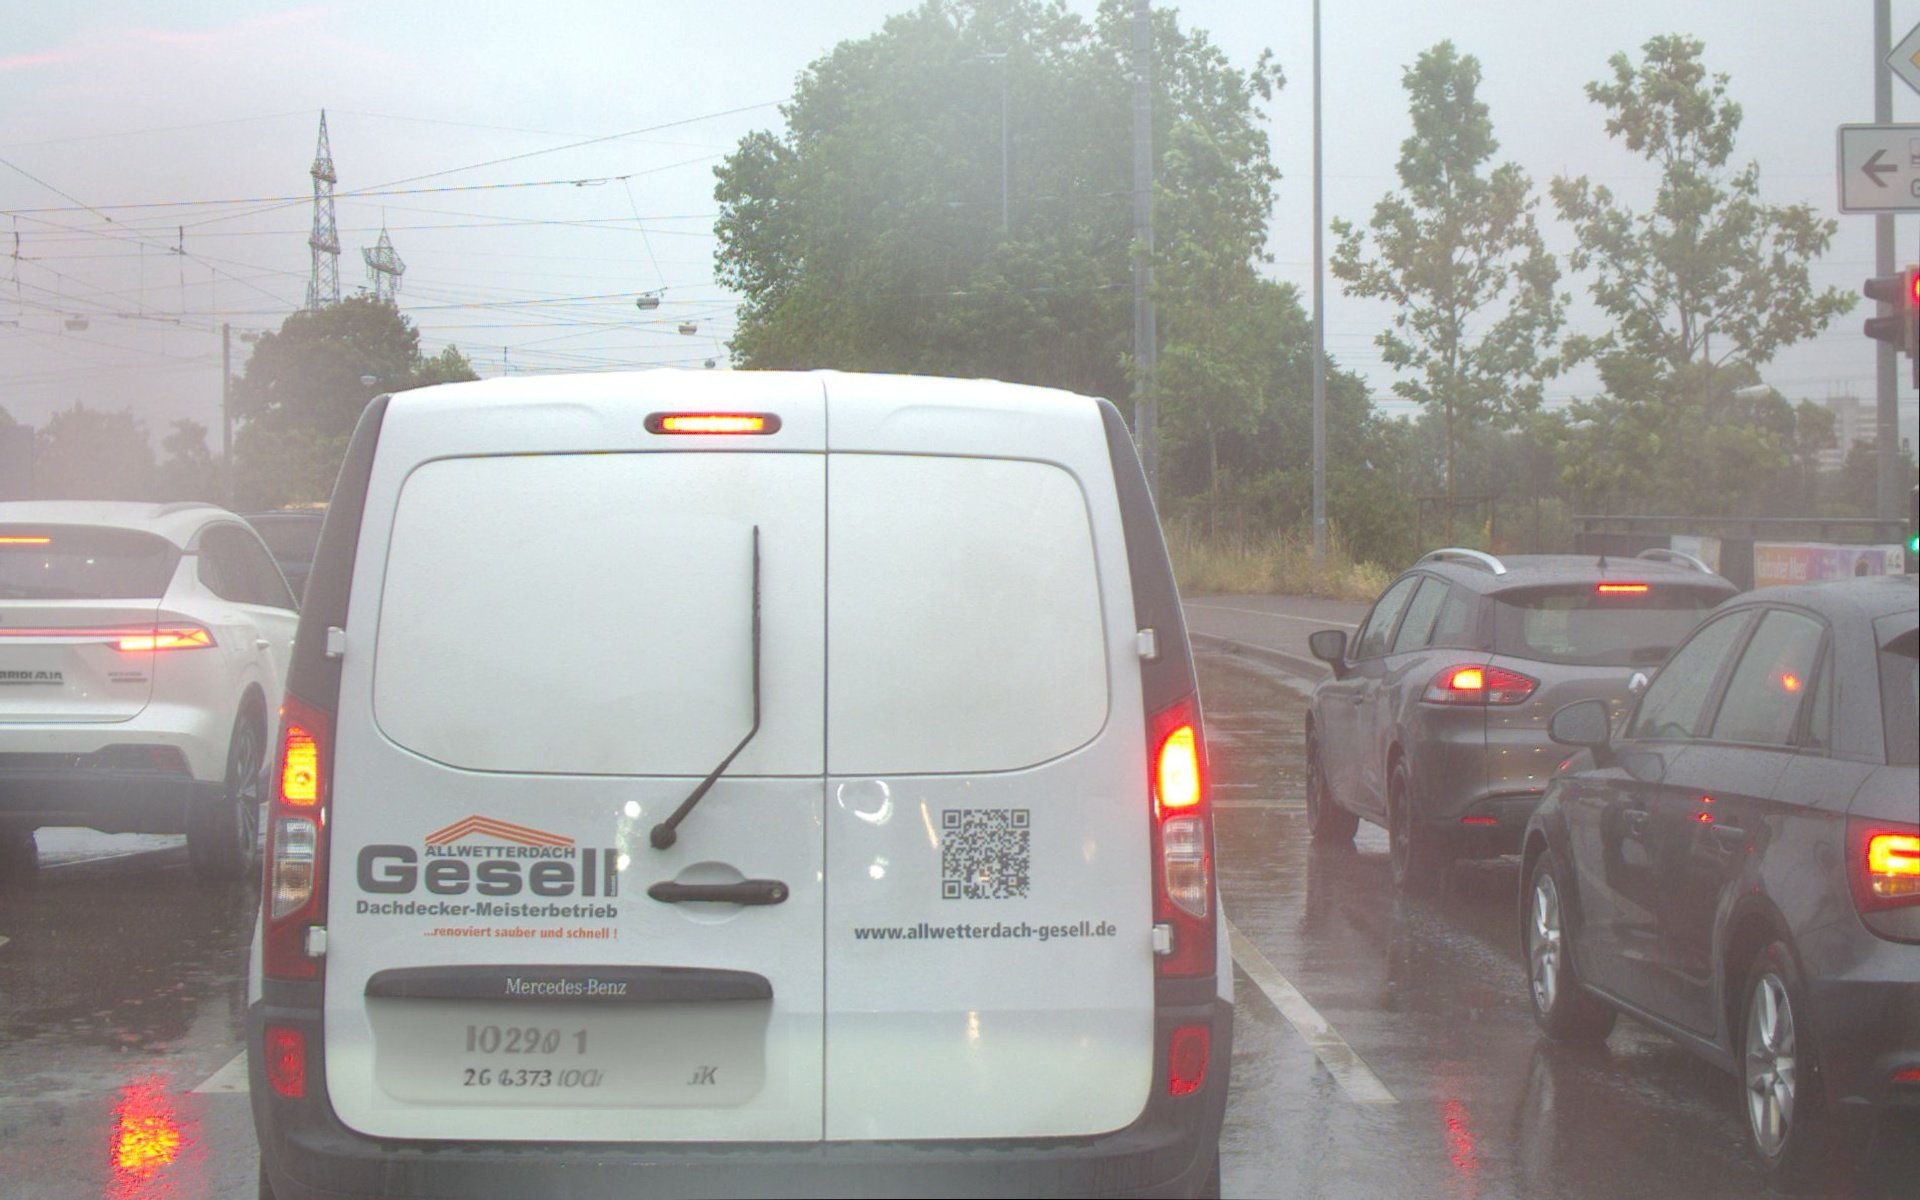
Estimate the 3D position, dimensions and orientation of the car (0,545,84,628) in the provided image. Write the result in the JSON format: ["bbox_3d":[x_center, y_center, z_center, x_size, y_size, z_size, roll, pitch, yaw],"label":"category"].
[{"bbox_3d":[-21.332,-0.329,77.435,1.929,1.820,3.999,1,1,4],"label":"car"}]

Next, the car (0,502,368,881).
[{"bbox_3d":[-3.954,0.314,16.096,1.728,1.530,4.298,1,1,-2],"label":"car"}]

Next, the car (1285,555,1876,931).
[{"bbox_3d":[2.639,0.544,15.531,1.859,1.424,3.808,1,1,-2],"label":"car"}]

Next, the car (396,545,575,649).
[{"bbox_3d":[-7.196,-0.061,52.475,1.615,1.498,3.714,1,1,10],"label":"car"}]

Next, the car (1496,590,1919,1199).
[{"bbox_3d":[2.548,0.670,8.929,1.629,1.340,3.624,1,1,-2],"label":"car"}]

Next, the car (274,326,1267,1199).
[{"bbox_3d":[-0.321,0.436,7.446,1.566,1.782,4.000,0,1,-1],"label":"car"}]
